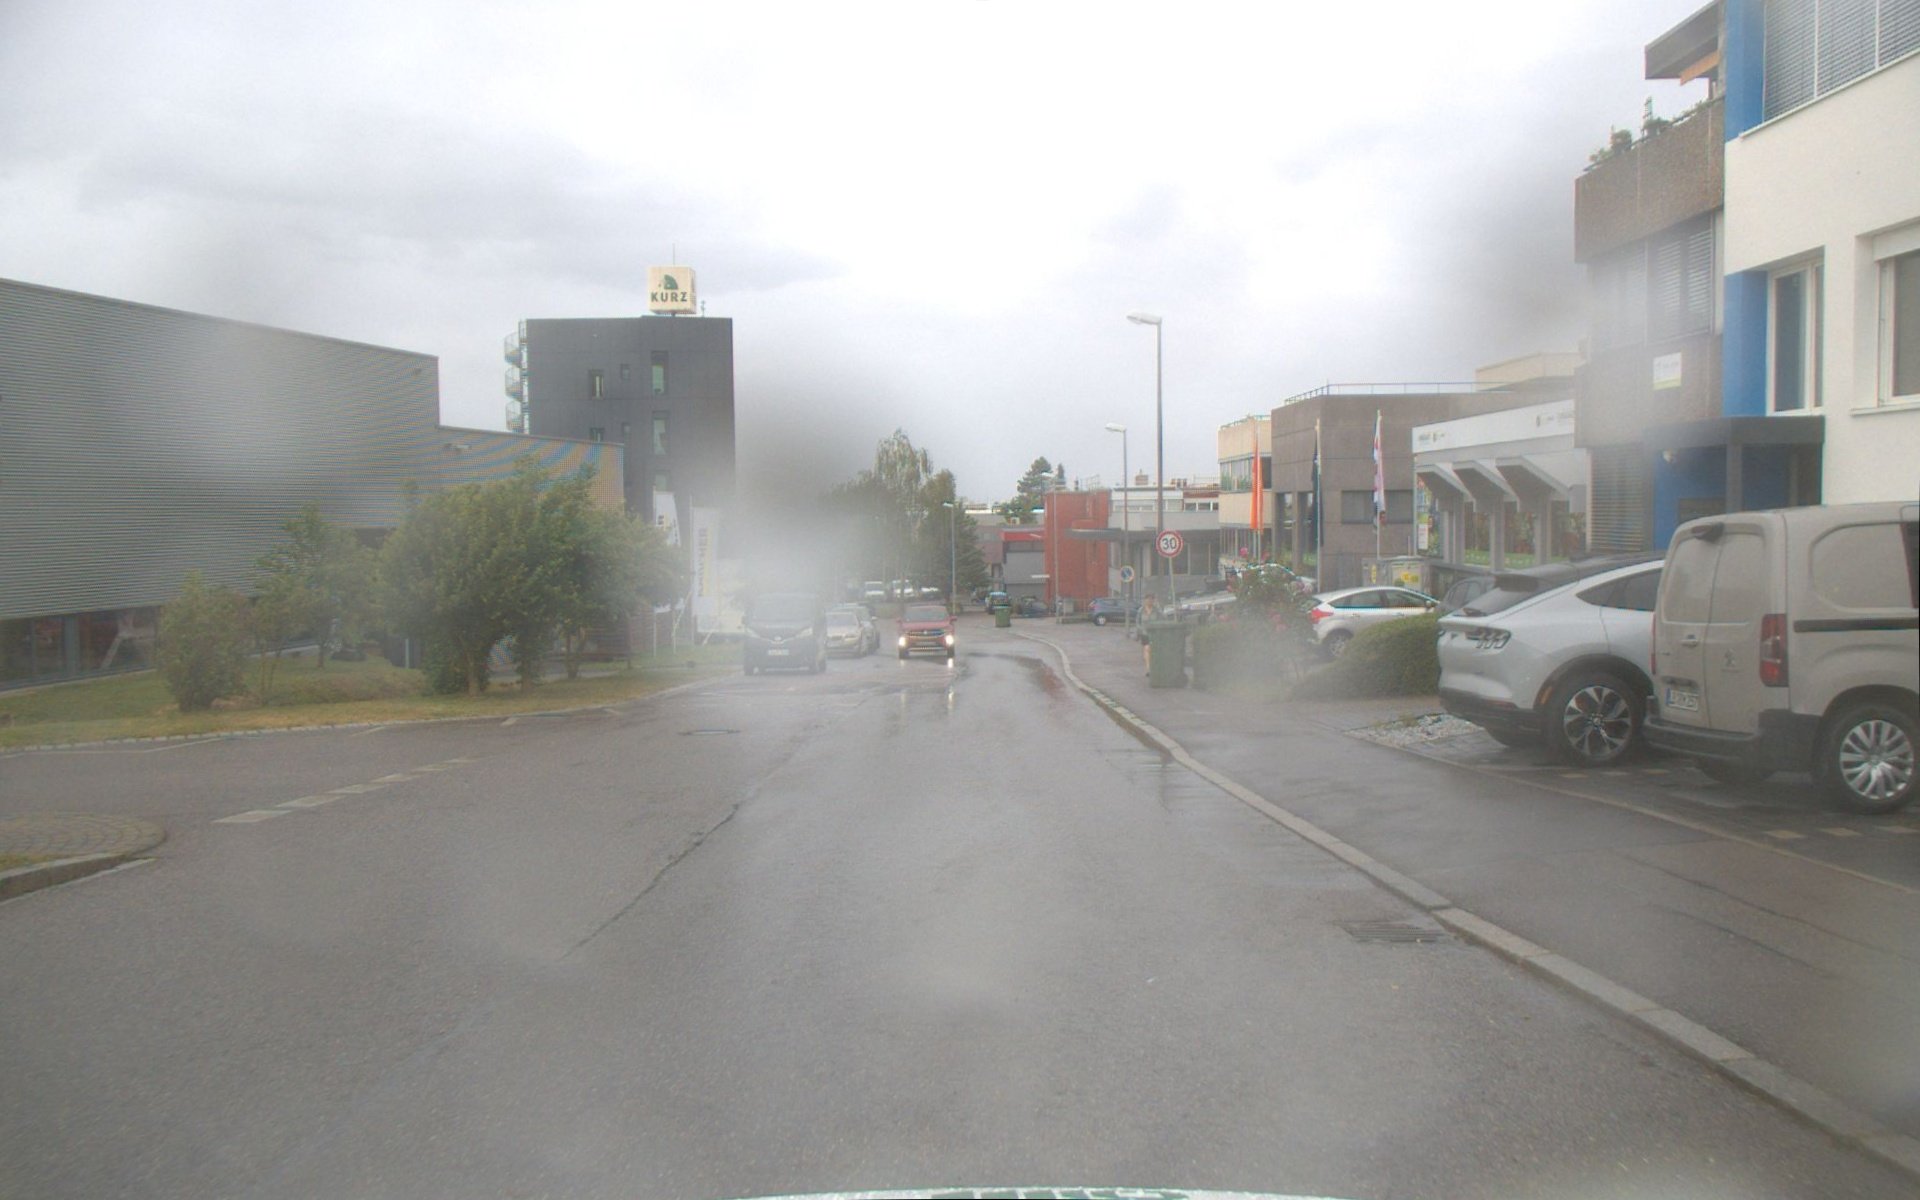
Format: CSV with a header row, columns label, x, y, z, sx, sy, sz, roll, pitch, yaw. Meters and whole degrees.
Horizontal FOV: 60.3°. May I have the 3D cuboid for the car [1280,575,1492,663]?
label,x,y,z,sx,sy,sz,roll,pitch,yaw
car,9.235,0.414,36.105,4.037,1.601,2.003,-4,-1,-1

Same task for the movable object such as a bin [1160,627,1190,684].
label,x,y,z,sx,sy,sz,roll,pitch,yaw
movable object such as a bin,3.754,0.964,28.918,0.462,0.984,0.514,-1,0,1

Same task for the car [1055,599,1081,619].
label,x,y,z,sx,sy,sz,roll,pitch,yaw
car,8.536,0.715,131.191,1.694,1.446,3.999,-2,-1,-1

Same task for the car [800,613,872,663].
label,x,y,z,sx,sy,sz,roll,pitch,yaw
car,-3.960,1.190,53.683,1.916,1.487,5.247,-2,0,0

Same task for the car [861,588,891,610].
label,x,y,z,sx,sy,sz,roll,pitch,yaw
car,-8.434,-0.070,165.641,2.228,2.049,3.983,-1,-1,-16

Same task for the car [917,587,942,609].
label,x,y,z,sx,sy,sz,roll,pitch,yaw
car,-3.114,-0.206,167.139,2.105,2.049,3.933,-2,-1,-7

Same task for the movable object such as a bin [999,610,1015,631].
label,x,y,z,sx,sy,sz,roll,pitch,yaw
movable object such as a bin,2.594,1.100,90.845,0.791,1.112,0.708,-2,0,-6

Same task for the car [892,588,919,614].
label,x,y,z,sx,sy,sz,roll,pitch,yaw
car,-5.484,0.081,166.113,2.152,2.502,3.992,-1,-1,-9

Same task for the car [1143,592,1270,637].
label,x,y,z,sx,sy,sz,roll,pitch,yaw
car,10.360,0.596,69.741,4.988,1.642,1.925,-2,0,-1

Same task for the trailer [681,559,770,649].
label,x,y,z,sx,sy,sz,roll,pitch,yaw
trailer,-11.613,0.200,81.831,4.106,4.276,1.997,-2,-1,38

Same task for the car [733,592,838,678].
label,x,y,z,sx,sy,sz,roll,pitch,yaw
car,-4.044,0.790,39.043,1.876,1.863,4.848,-1,-1,1

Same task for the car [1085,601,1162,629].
label,x,y,z,sx,sy,sz,roll,pitch,yaw
car,8.530,0.799,86.610,3.816,1.408,1.820,0,-1,-1

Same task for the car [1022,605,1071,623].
label,x,y,z,sx,sy,sz,roll,pitch,yaw
car,5.930,0.959,113.493,3.330,1.183,1.792,-1,0,1

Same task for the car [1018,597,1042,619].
label,x,y,z,sx,sy,sz,roll,pitch,yaw
car,5.557,0.638,131.997,1.704,1.682,3.999,-2,-1,-1

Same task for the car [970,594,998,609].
label,x,y,z,sx,sy,sz,roll,pitch,yaw
car,2.235,0.154,153.396,2.498,1.375,1.241,-1,0,-6

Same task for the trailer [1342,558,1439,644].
label,x,y,z,sx,sy,sz,roll,pitch,yaw
trailer,12.980,0.003,50.139,1.848,2.459,4.309,-2,1,1

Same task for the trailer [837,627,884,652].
label,x,y,z,sx,sy,sz,roll,pitch,yaw
trailer,-3.837,1.527,64.438,1.646,0.904,3.896,-2,-1,-1

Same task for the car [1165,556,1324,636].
label,x,y,z,sx,sy,sz,roll,pitch,yaw
car,10.334,-0.137,60.464,5.196,2.046,2.221,-9,-1,-1

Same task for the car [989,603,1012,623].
label,x,y,z,sx,sy,sz,roll,pitch,yaw
car,3.196,1.062,131.272,1.662,1.501,3.999,-2,-1,-1

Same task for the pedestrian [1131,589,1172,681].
label,x,y,z,sx,sy,sz,roll,pitch,yaw
pedestrian,3.832,0.695,33.133,0.721,1.798,0.808,-1,-1,1

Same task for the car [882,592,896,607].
label,x,y,z,sx,sy,sz,roll,pitch,yaw
car,-7.353,-0.018,171.687,1.265,1.449,2.542,-1,-1,-7

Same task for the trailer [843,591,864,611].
label,x,y,z,sx,sy,sz,roll,pitch,yaw
trailer,-10.903,0.088,169.612,1.818,2.049,3.993,-1,0,-8

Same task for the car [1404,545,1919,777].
label,x,y,z,sx,sy,sz,roll,pitch,yaw
car,6.198,0.430,13.517,4.504,1.565,2.079,-3,0,-1

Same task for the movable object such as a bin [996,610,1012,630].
label,x,y,z,sx,sy,sz,roll,pitch,yaw
movable object such as a bin,2.454,1.109,92.065,0.793,1.109,0.541,-2,0,-6

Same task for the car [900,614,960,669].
label,x,y,z,sx,sy,sz,roll,pitch,yaw
car,-0.907,1.287,51.971,1.712,1.534,3.935,-4,-1,0

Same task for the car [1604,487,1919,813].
label,x,y,z,sx,sy,sz,roll,pitch,yaw
car,6.620,0.229,10.435,4.253,1.804,2.088,-2,0,-2

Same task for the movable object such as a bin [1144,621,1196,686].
label,x,y,z,sx,sy,sz,roll,pitch,yaw
movable object such as a bin,3.469,0.876,27.315,0.756,1.048,0.808,-1,0,1

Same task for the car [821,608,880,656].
label,x,y,z,sx,sy,sz,roll,pitch,yaw
car,-3.932,1.143,60.061,1.918,1.604,4.838,-2,-1,-2

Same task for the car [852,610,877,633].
label,x,y,z,sx,sy,sz,roll,pitch,yaw
car,-7.572,1.699,130.958,1.917,1.705,4.468,-2,-1,-4

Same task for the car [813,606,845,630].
label,x,y,z,sx,sy,sz,roll,pitch,yaw
car,-9.427,1.275,118.814,1.671,1.637,3.987,-3,1,-13

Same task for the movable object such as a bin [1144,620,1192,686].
label,x,y,z,sx,sy,sz,roll,pitch,yaw
movable object such as a bin,3.518,0.888,28.050,0.728,1.085,0.637,-1,0,1
